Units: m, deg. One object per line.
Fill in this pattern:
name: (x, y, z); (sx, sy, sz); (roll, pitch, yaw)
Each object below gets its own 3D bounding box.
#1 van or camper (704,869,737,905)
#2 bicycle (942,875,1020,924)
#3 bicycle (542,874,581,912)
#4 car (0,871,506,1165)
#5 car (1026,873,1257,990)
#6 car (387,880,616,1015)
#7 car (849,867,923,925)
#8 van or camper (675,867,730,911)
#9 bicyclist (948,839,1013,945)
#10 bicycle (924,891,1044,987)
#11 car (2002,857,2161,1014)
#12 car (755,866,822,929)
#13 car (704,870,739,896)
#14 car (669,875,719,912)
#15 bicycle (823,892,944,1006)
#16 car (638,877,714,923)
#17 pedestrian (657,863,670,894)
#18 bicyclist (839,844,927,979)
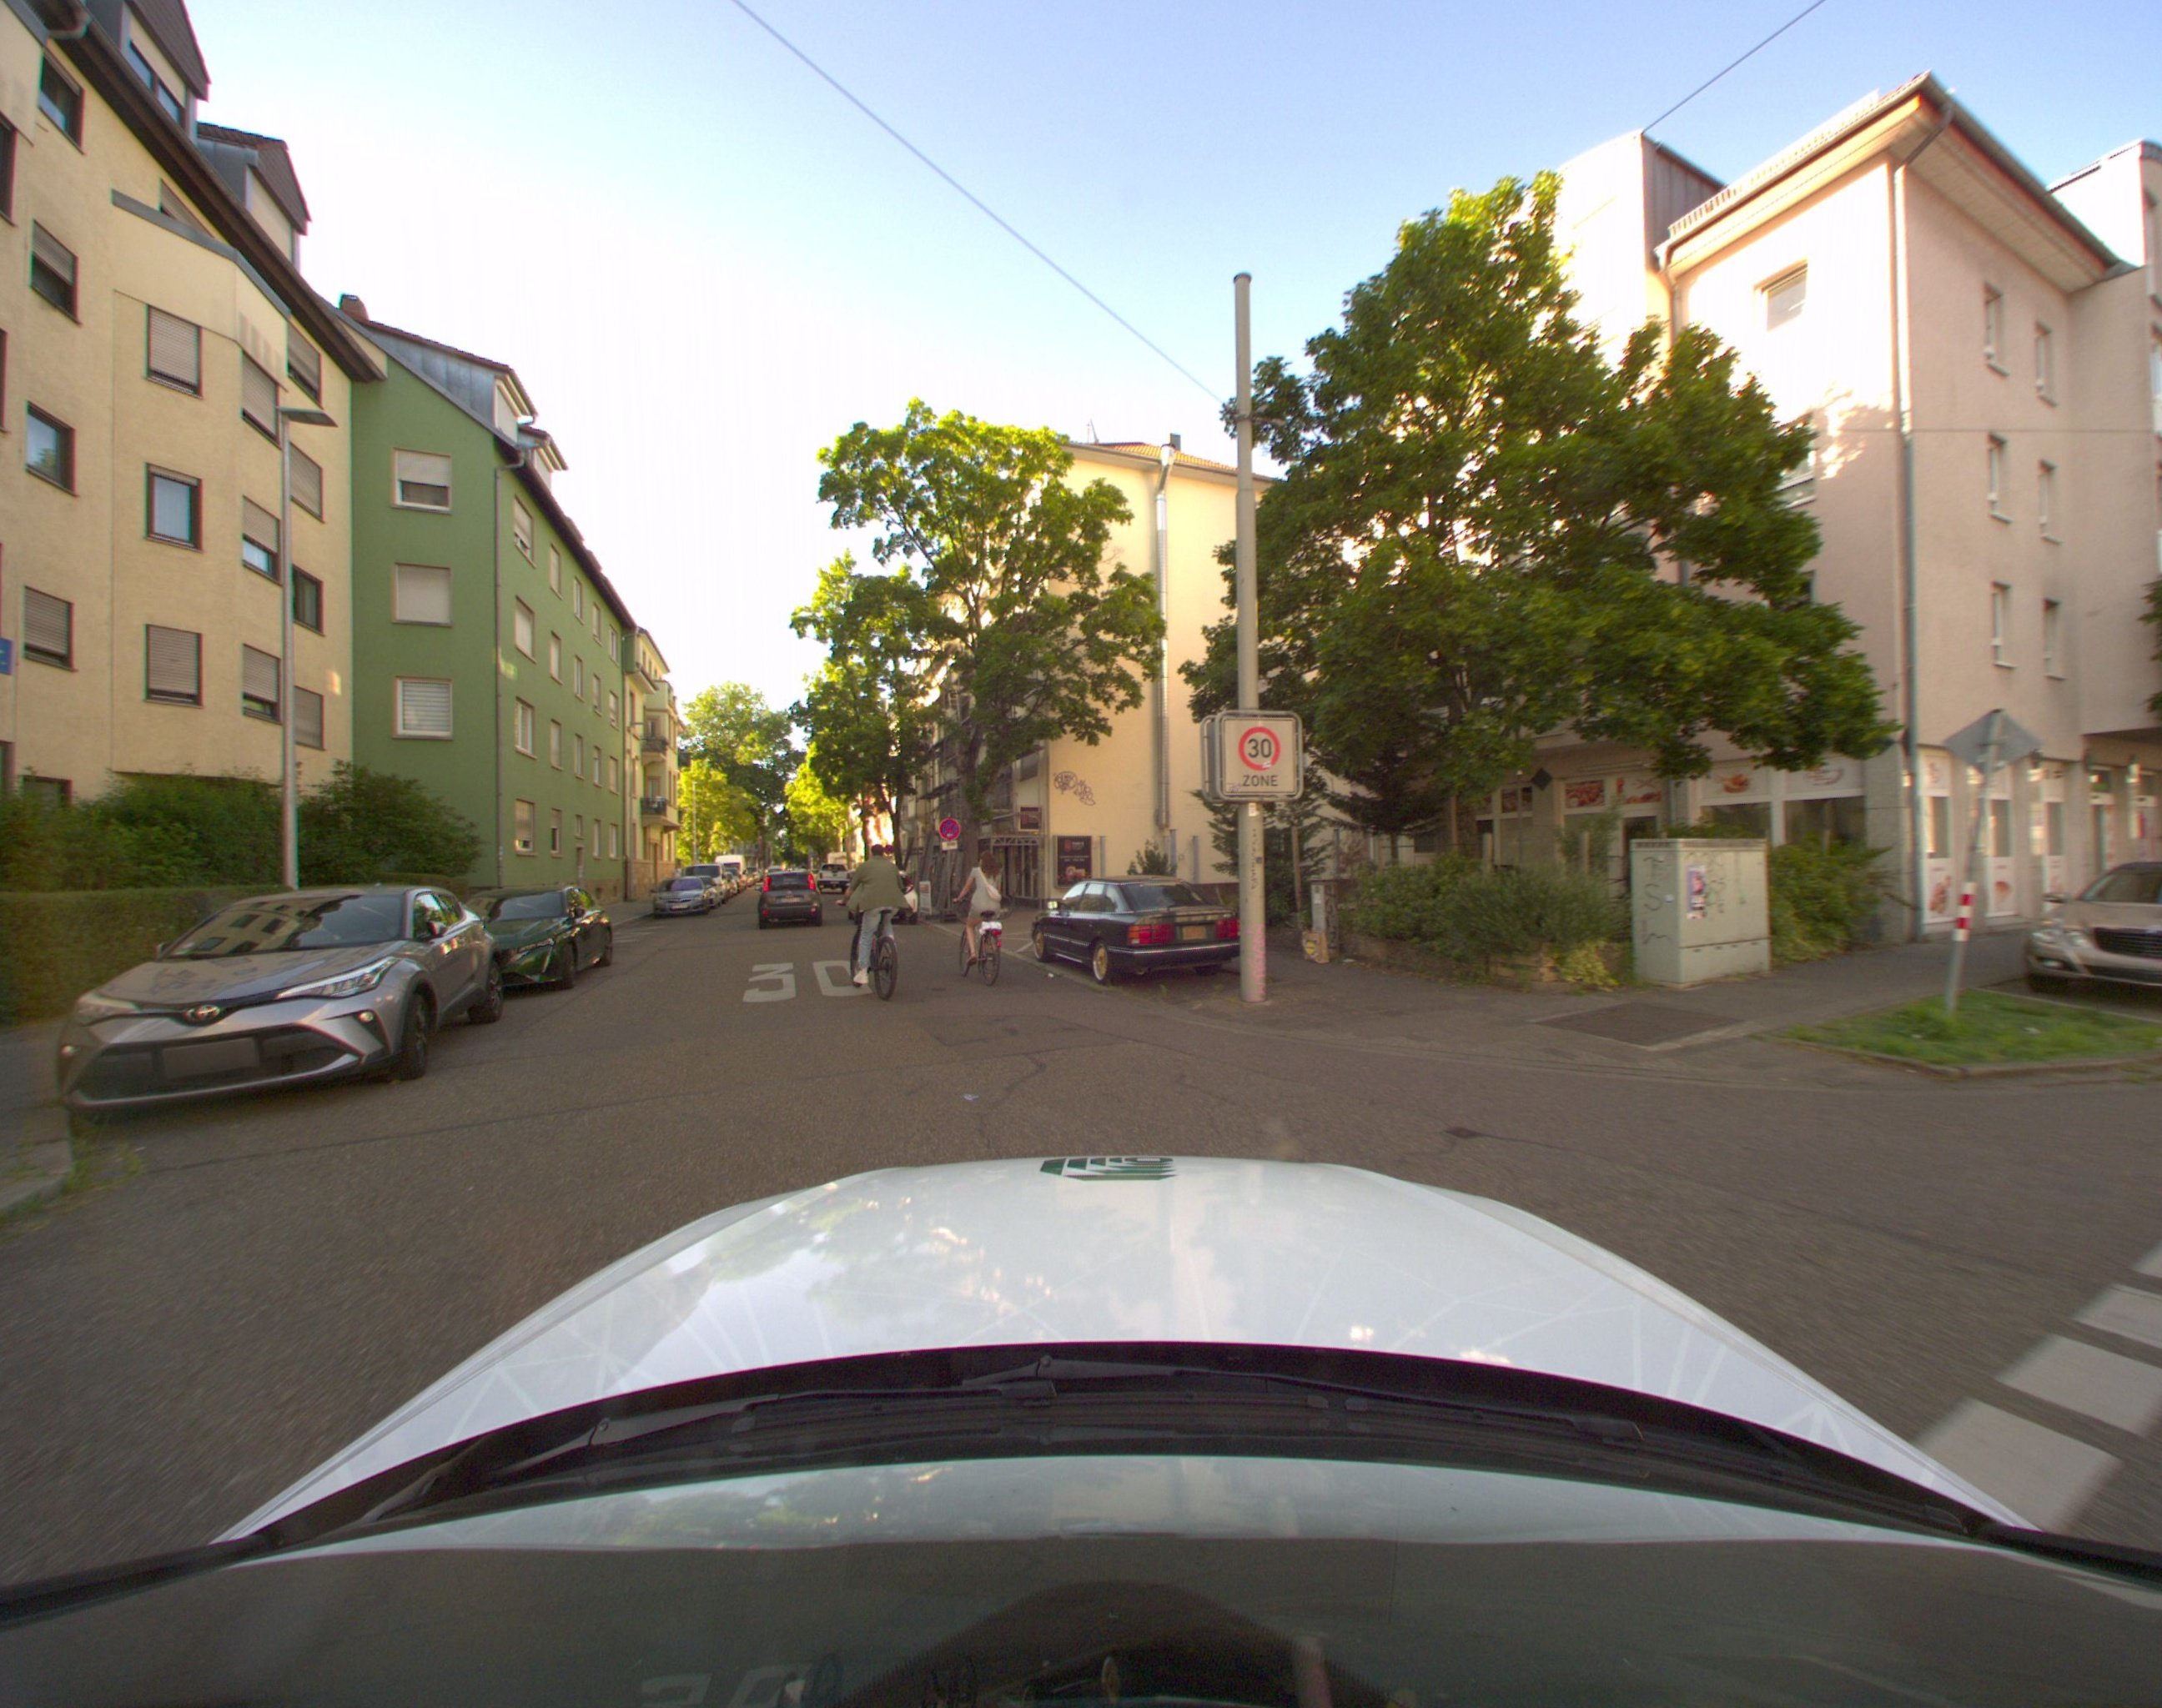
van or camper: (-26.939, 2.418, 61.052); (2.001, 2.553, 4.987); (0, -1, -21)
bicycle: (-2.721, 1.226, 22.337); (1.996, 1.165, 0.718); (-3, 1, -38)
bicycle: (-17.398, 1.275, 27.320); (0.552, 1.178, 2.263); (3, -2, -19)
car: (-6.497, 1.019, 6.957); (1.913, 1.660, 3.966); (-2, -1, -26)
car: (0.637, 0.977, 12.102); (1.714, 1.388, 4.538); (1, -1, -20)
car: (-8.206, 1.190, 11.967); (1.759, 1.497, 4.105); (-2, -1, -22)
car: (-5.742, 1.177, 23.726); (1.680, 1.545, 3.380); (3, -2, -20)
van or camper: (-18.576, 1.656, 40.173); (2.000, 2.014, 4.878); (-1, -1, -20)
bicyclist: (-1.384, 0.533, 11.094); (0.626, 1.381, 0.861); (0, -5, -23)
bicycle: (-1.384, 1.115, 11.169); (0.844, 1.149, 2.212); (4, -4, -28)
car: (11.826, 0.771, 8.687); (4.009, 1.442, 1.734); (0, 1, -28)
car: (-8.068, 1.139, 22.457); (1.562, 1.533, 3.462); (-2, -1, -20)
car: (-21.916, 1.759, 49.783); (1.716, 1.505, 3.972); (0, -1, -20)
car: (-16.546, 1.638, 34.947); (1.693, 1.453, 3.683); (-1, -1, -22)
bicycle: (-2.491, 1.085, 10.030); (0.844, 1.149, 2.211); (-1, -1, -30)
car: (-14.809, 1.643, 29.970); (1.985, 1.455, 4.086); (-1, -1, -19)
pedestrian: (-26.010, 1.544, 50.709); (0.687, 1.919, 0.612); (0, -1, -26)
bicyclist: (-2.449, 0.692, 10.015); (0.886, 1.562, 0.860); (0, -4, -26)
